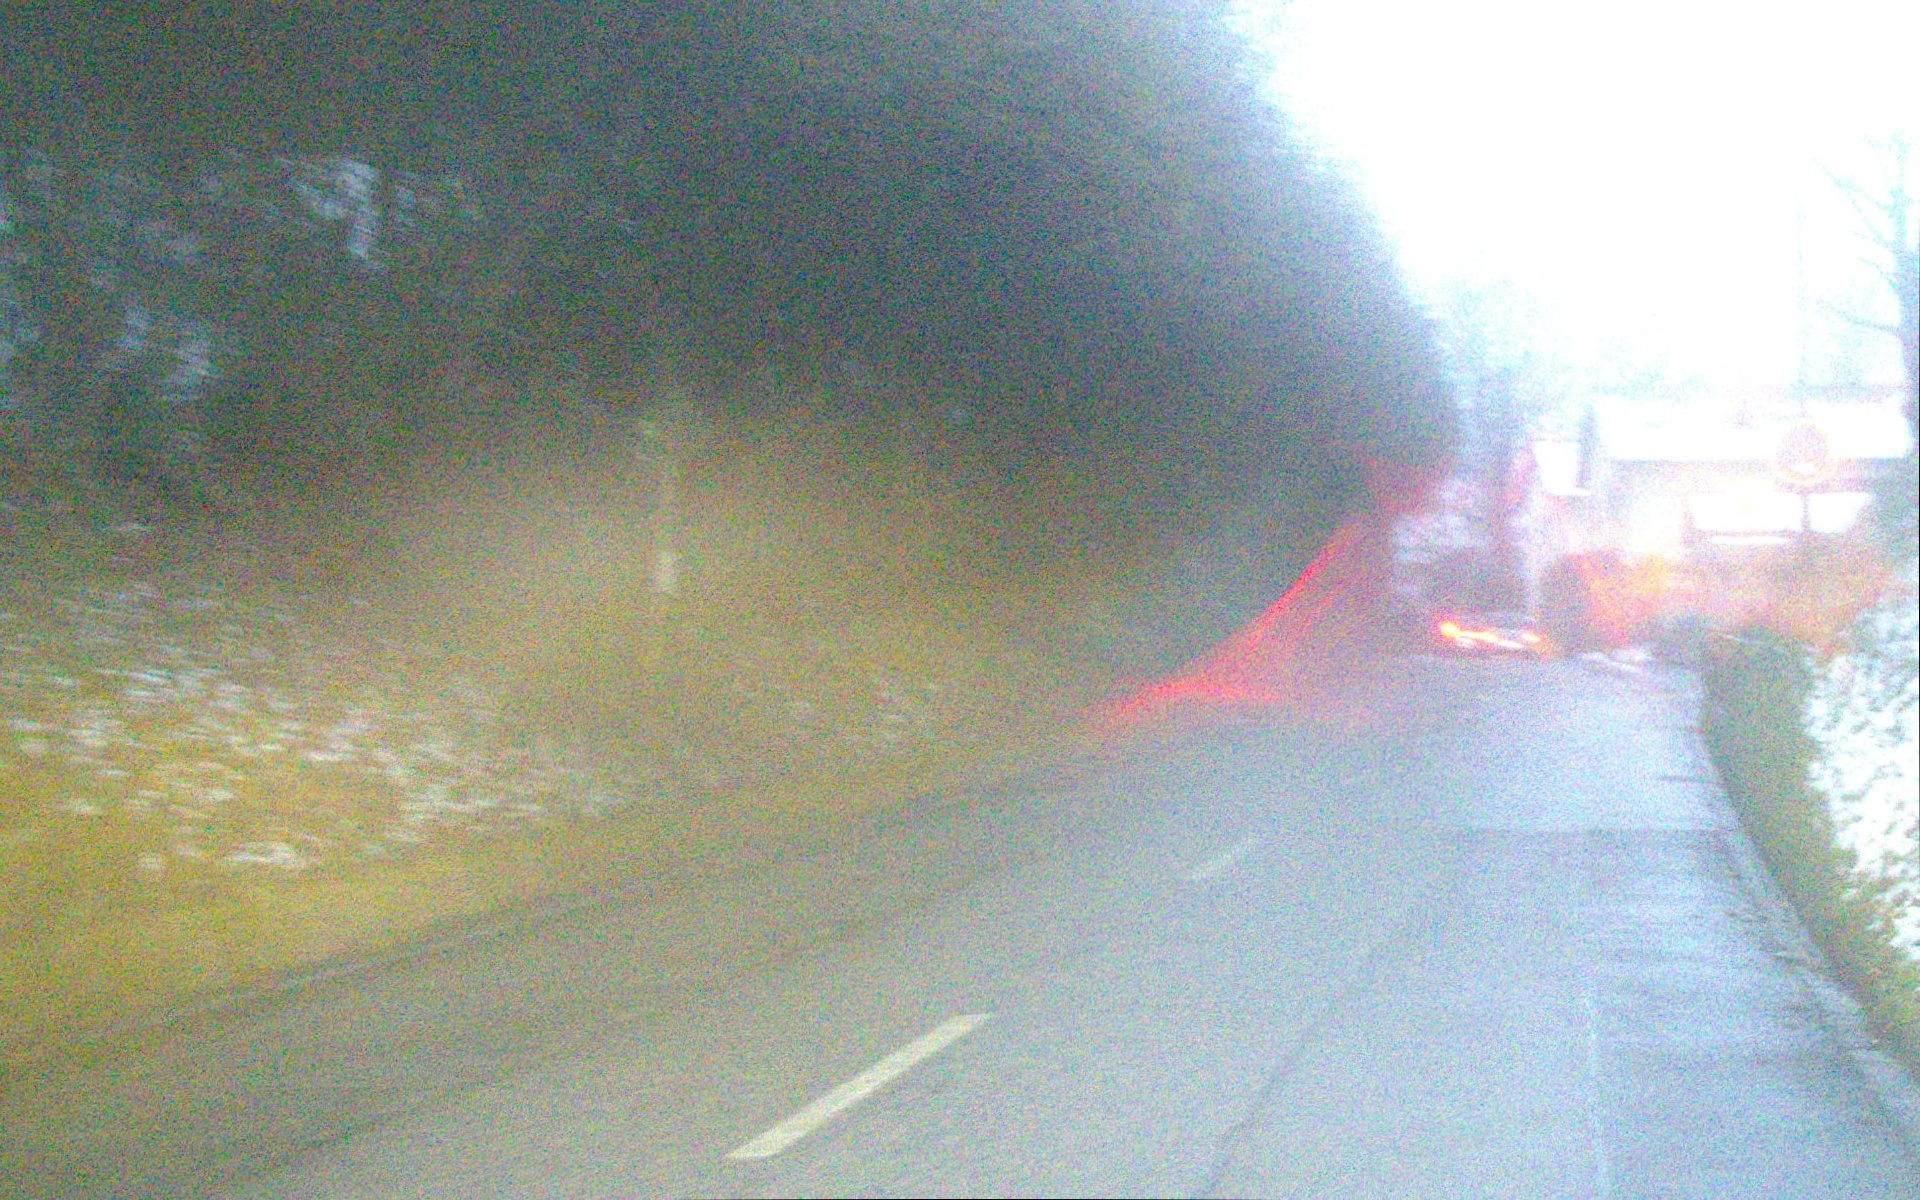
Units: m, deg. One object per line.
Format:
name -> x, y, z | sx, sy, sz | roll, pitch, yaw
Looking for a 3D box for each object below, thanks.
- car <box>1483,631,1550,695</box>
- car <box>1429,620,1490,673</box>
car -> 16.815, 1.909, 103.734 | 1.806, 1.732, 3.997 | 3, -2, 11
car -> 17.036, 1.606, 117.063 | 1.806, 1.612, 3.997 | 3, -2, 11
